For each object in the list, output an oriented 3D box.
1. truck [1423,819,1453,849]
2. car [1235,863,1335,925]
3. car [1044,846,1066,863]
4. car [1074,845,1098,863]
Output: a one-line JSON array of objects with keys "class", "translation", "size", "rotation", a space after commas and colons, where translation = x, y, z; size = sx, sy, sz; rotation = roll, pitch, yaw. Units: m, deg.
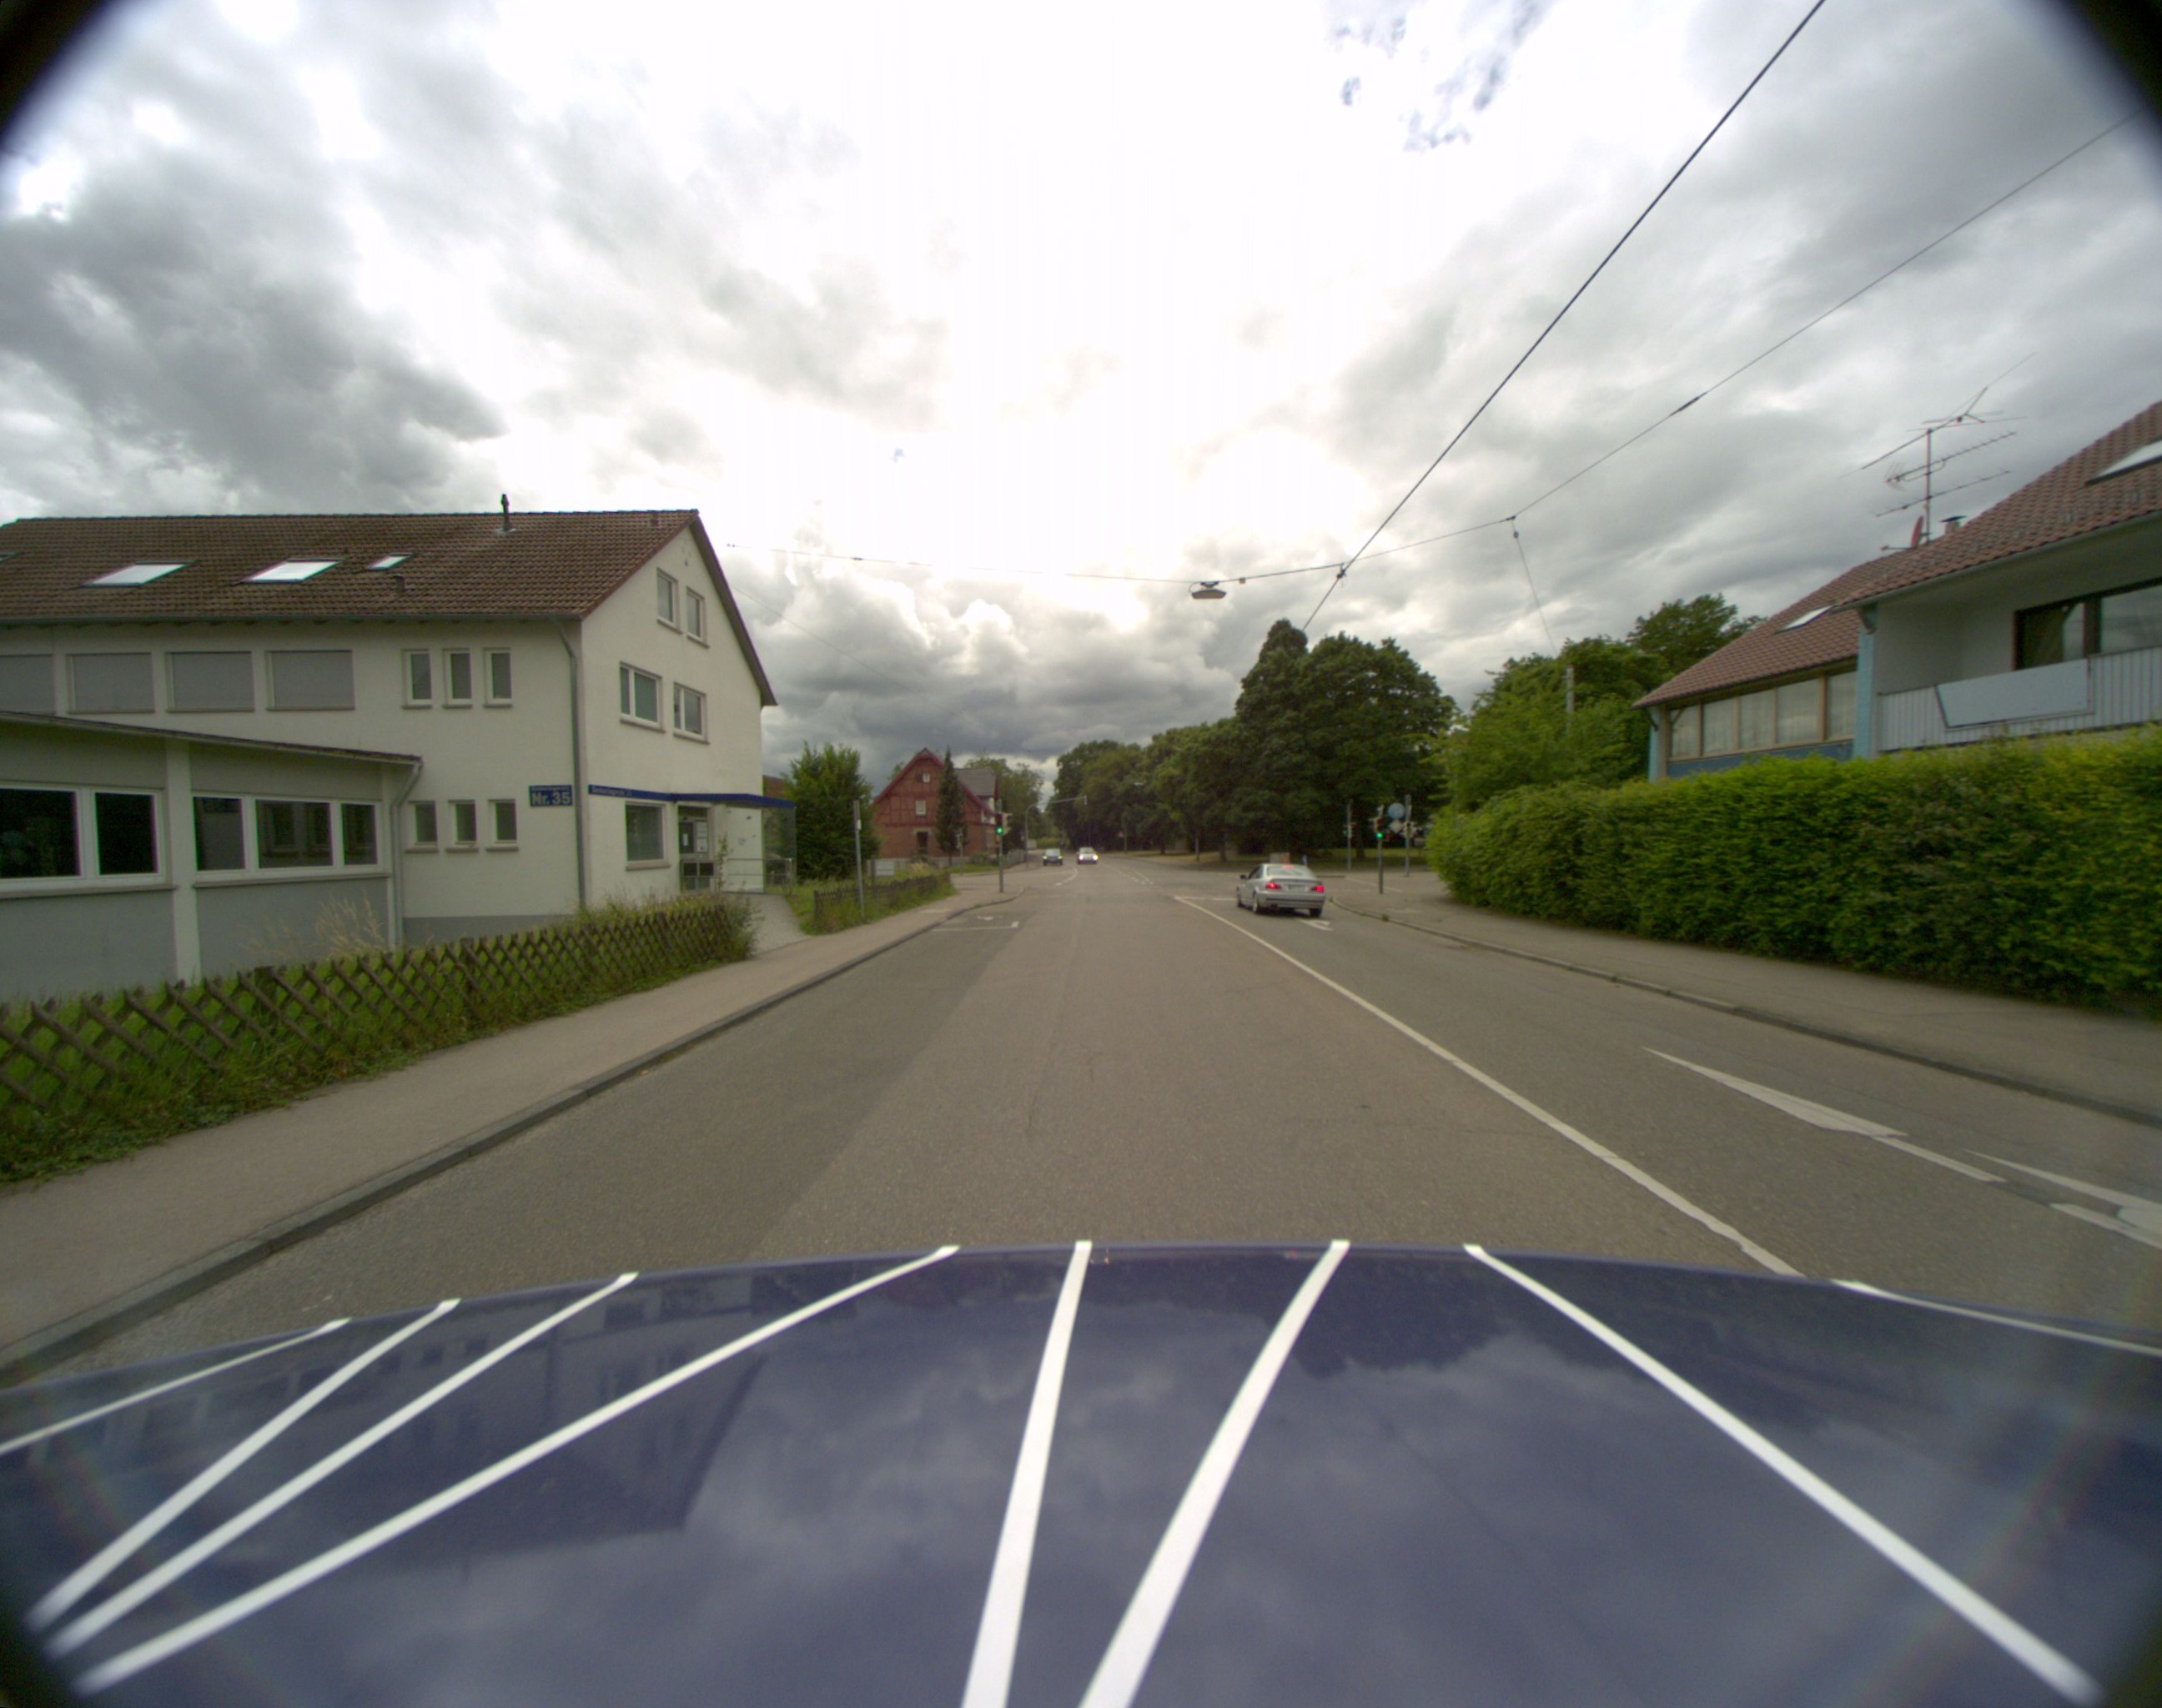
[{"class": "truck", "translation": [36.603, -2.085, 78.071], "size": [2.477, 2.831, 7.443], "rotation": [-1, 1, 24]}, {"class": "car", "translation": [5.504, 1.023, 21.011], "size": [1.717, 1.346, 4.083], "rotation": [4, 1, 2]}, {"class": "car", "translation": [-2.415, 0.028, 71.366], "size": [1.926, 1.510, 3.998], "rotation": [-2, 2, -1]}, {"class": "car", "translation": [0.458, -0.041, 72.350], "size": [1.781, 1.510, 3.554], "rotation": [-3, 2, -7]}]
